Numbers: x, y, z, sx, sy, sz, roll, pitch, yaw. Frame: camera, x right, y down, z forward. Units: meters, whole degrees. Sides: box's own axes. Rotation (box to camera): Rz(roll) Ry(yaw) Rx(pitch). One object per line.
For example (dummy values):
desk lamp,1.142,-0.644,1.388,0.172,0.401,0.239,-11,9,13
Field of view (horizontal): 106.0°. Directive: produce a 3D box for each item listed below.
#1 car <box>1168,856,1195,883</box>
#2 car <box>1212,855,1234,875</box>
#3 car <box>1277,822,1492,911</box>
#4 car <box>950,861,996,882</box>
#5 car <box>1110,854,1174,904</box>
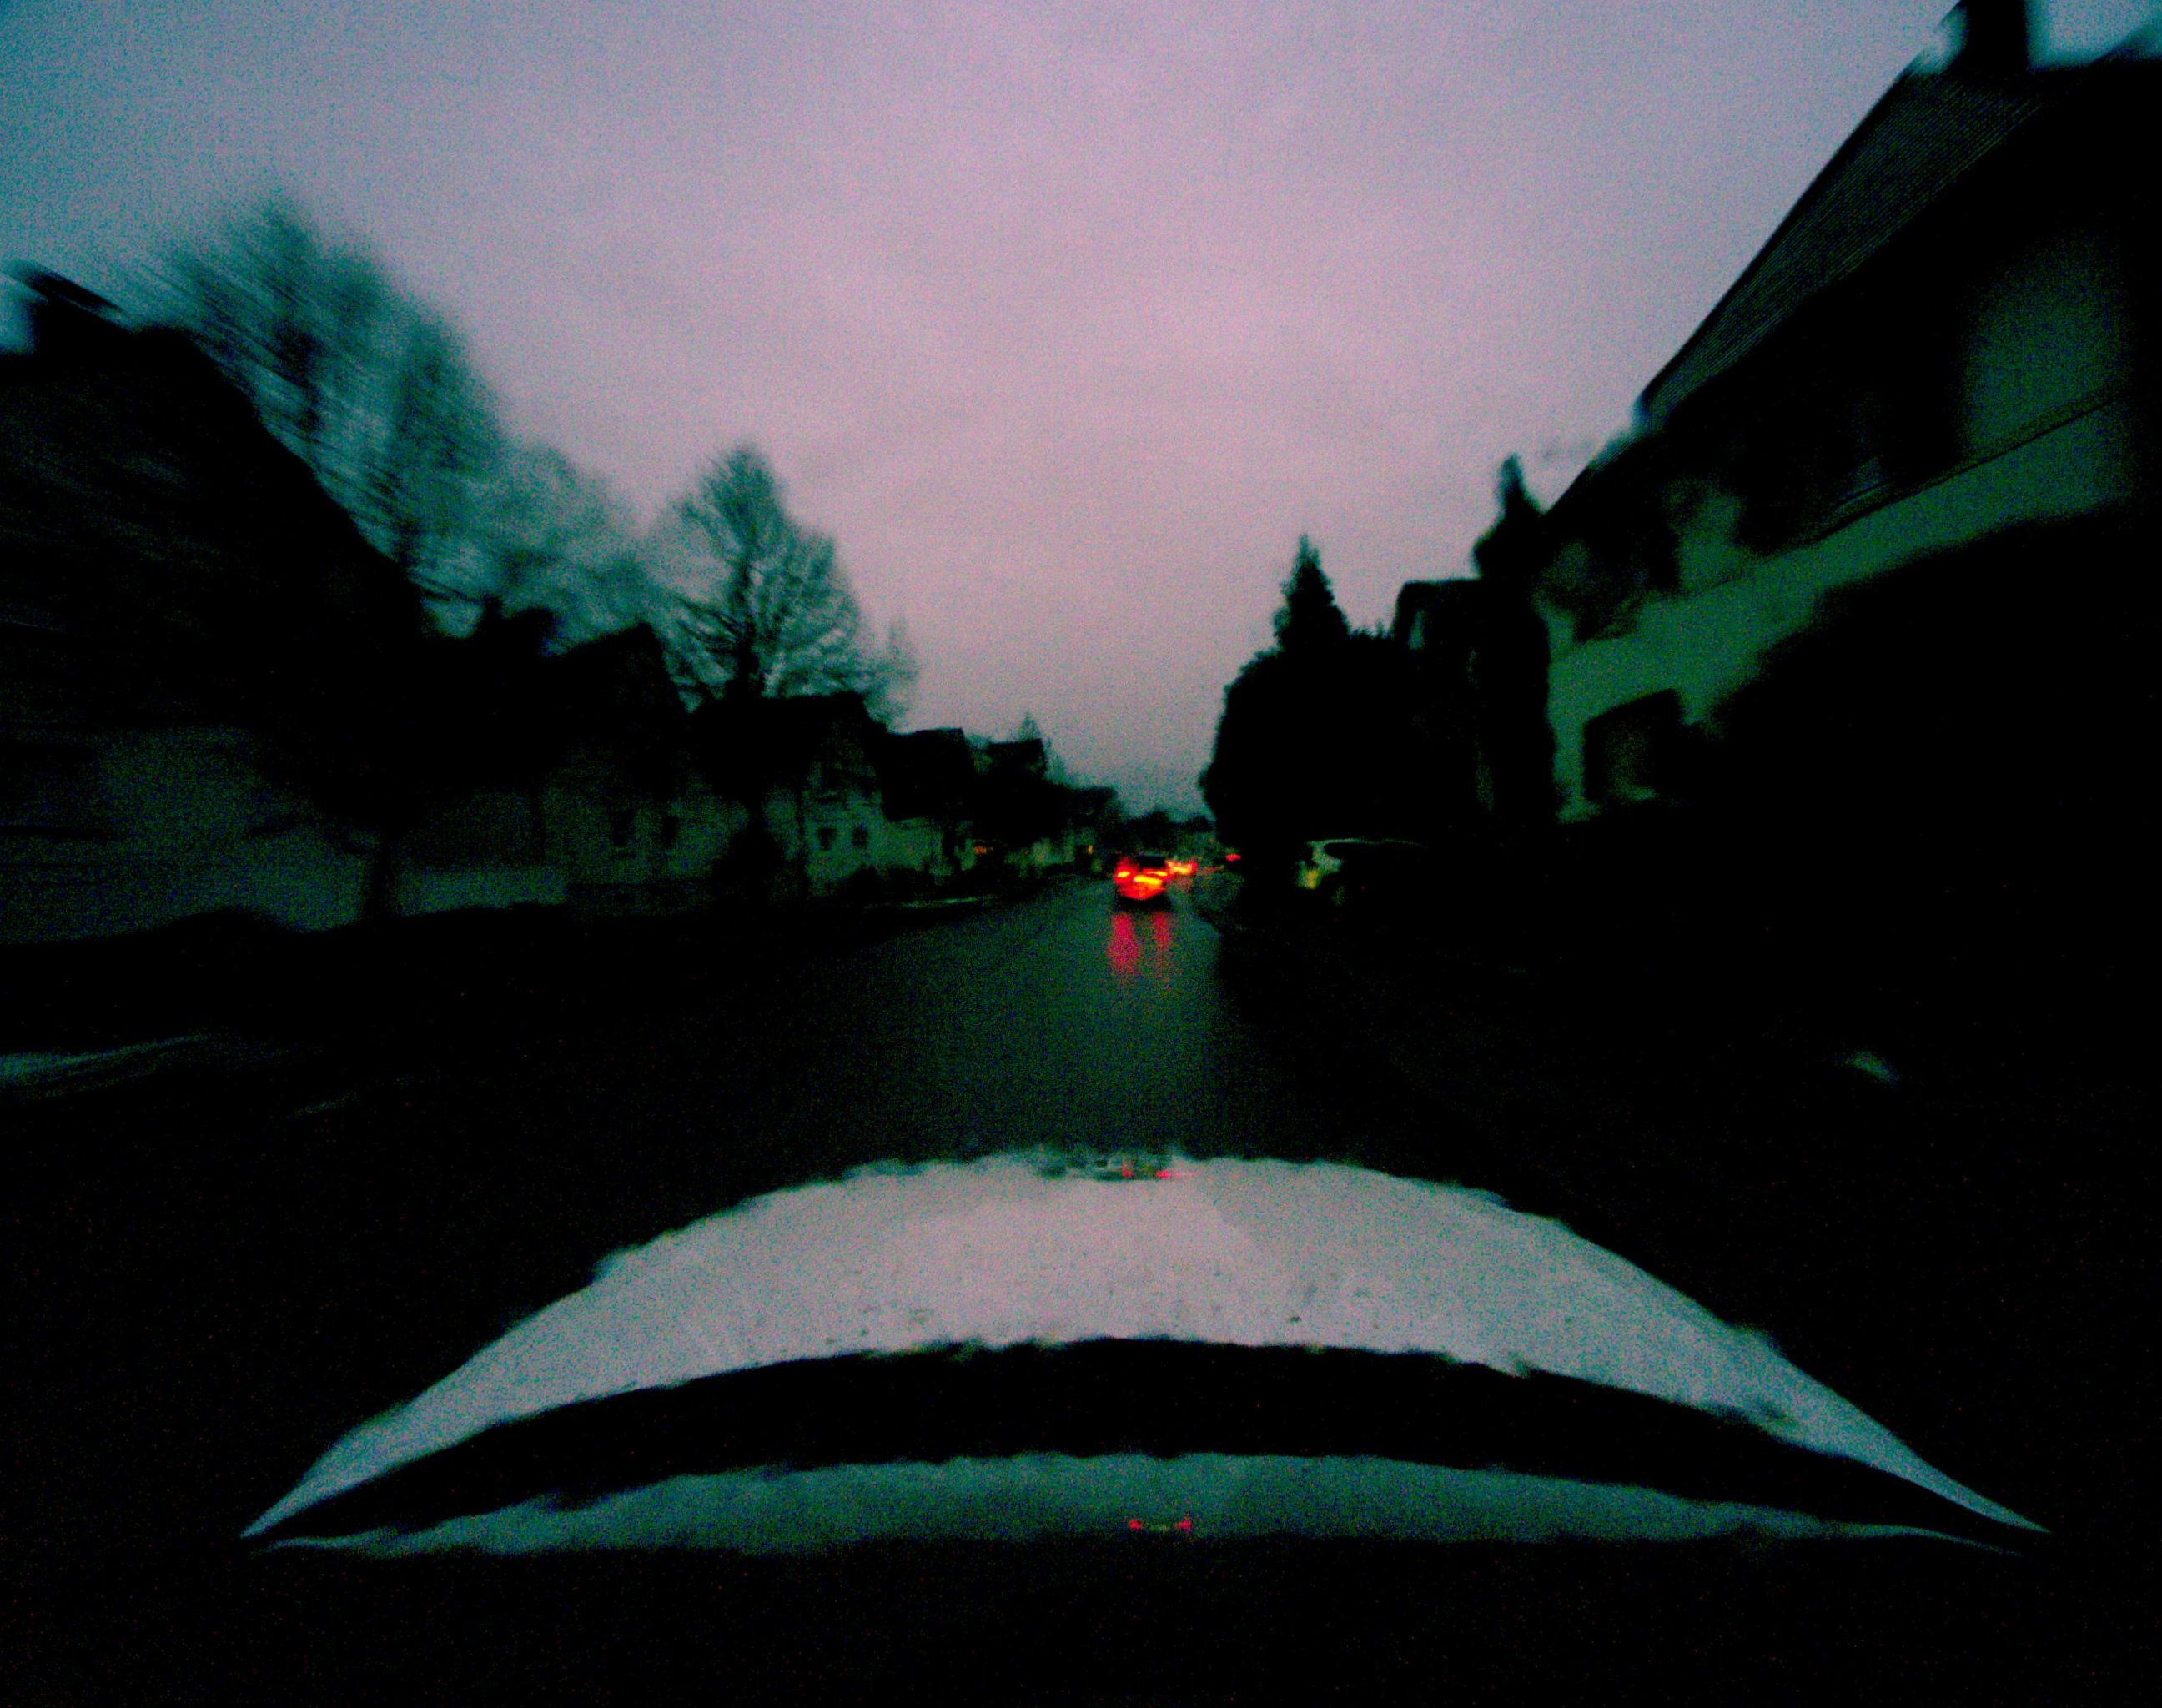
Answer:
car,7.815,1.200,63.117,1.982,2.014,4.010,-1,-1,9
car,12.104,0.922,69.243,1.638,1.540,3.402,-3,-1,13
car,7.142,0.288,19.520,4.308,1.732,2.000,-4,-1,0
car,-7.342,1.195,55.675,1.769,1.366,4.014,-1,-1,13
car,2.039,0.793,27.562,1.985,1.525,4.003,-1,-1,3
